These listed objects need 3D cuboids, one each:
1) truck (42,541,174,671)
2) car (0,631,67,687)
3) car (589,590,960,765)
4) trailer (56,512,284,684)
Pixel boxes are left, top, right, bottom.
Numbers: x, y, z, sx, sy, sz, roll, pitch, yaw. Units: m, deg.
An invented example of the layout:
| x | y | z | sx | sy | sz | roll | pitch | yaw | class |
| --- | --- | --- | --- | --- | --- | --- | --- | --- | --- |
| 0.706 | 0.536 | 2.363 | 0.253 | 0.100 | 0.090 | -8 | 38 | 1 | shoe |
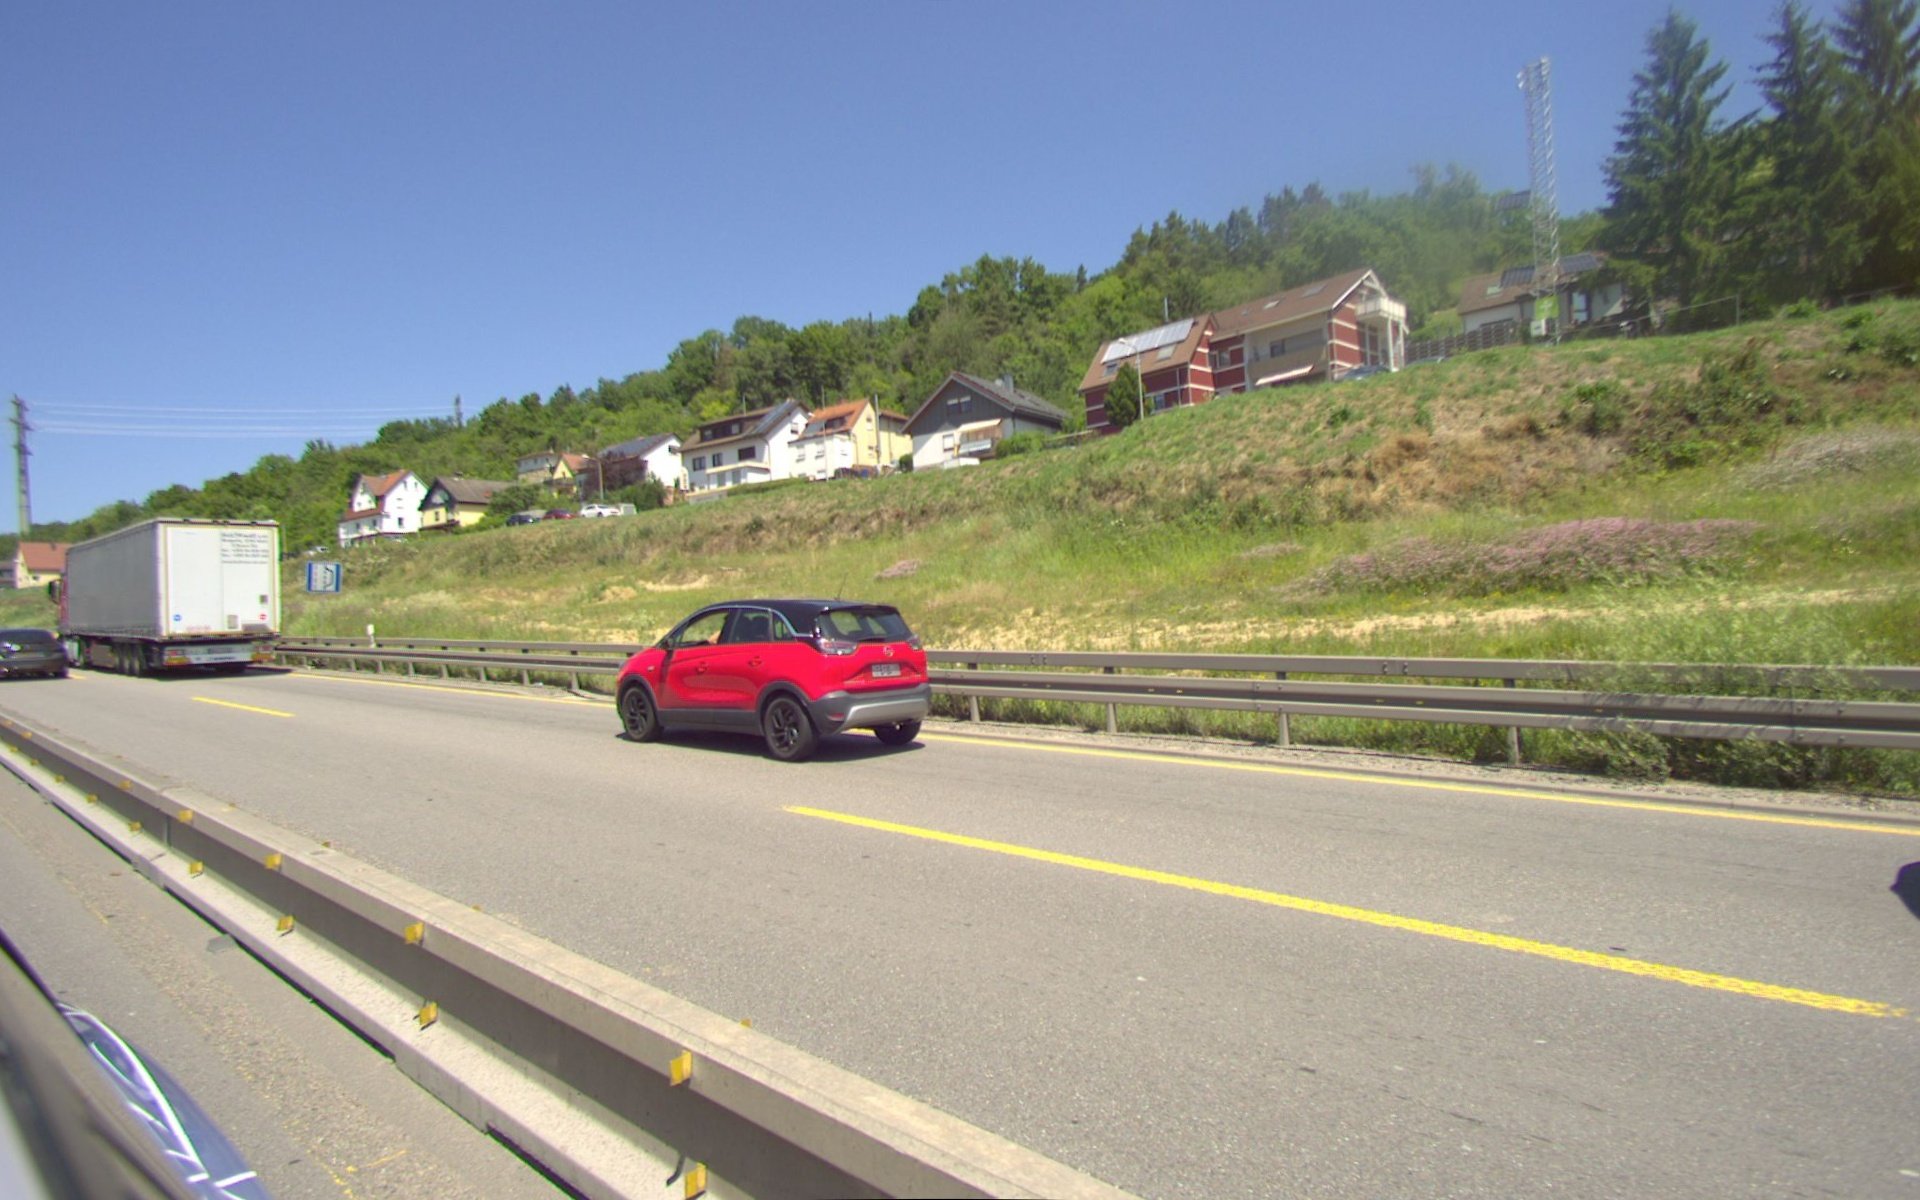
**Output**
| x | y | z | sx | sy | sz | roll | pitch | yaw | class |
| --- | --- | --- | --- | --- | --- | --- | --- | --- | --- |
| -29.300 | 0.229 | 34.763 | 4.596 | 4.155 | 2.792 | -2 | -1 | 41 | truck |
| -25.601 | 1.546 | 27.267 | 4.409 | 1.373 | 1.749 | -2 | -1 | 41 | car |
| -2.170 | 0.737 | 11.077 | 4.262 | 1.563 | 1.699 | -2 | -1 | 41 | car |
| -23.668 | 0.095 | 29.824 | 13.430 | 4.155 | 2.827 | -2 | -1 | 41 | trailer |
